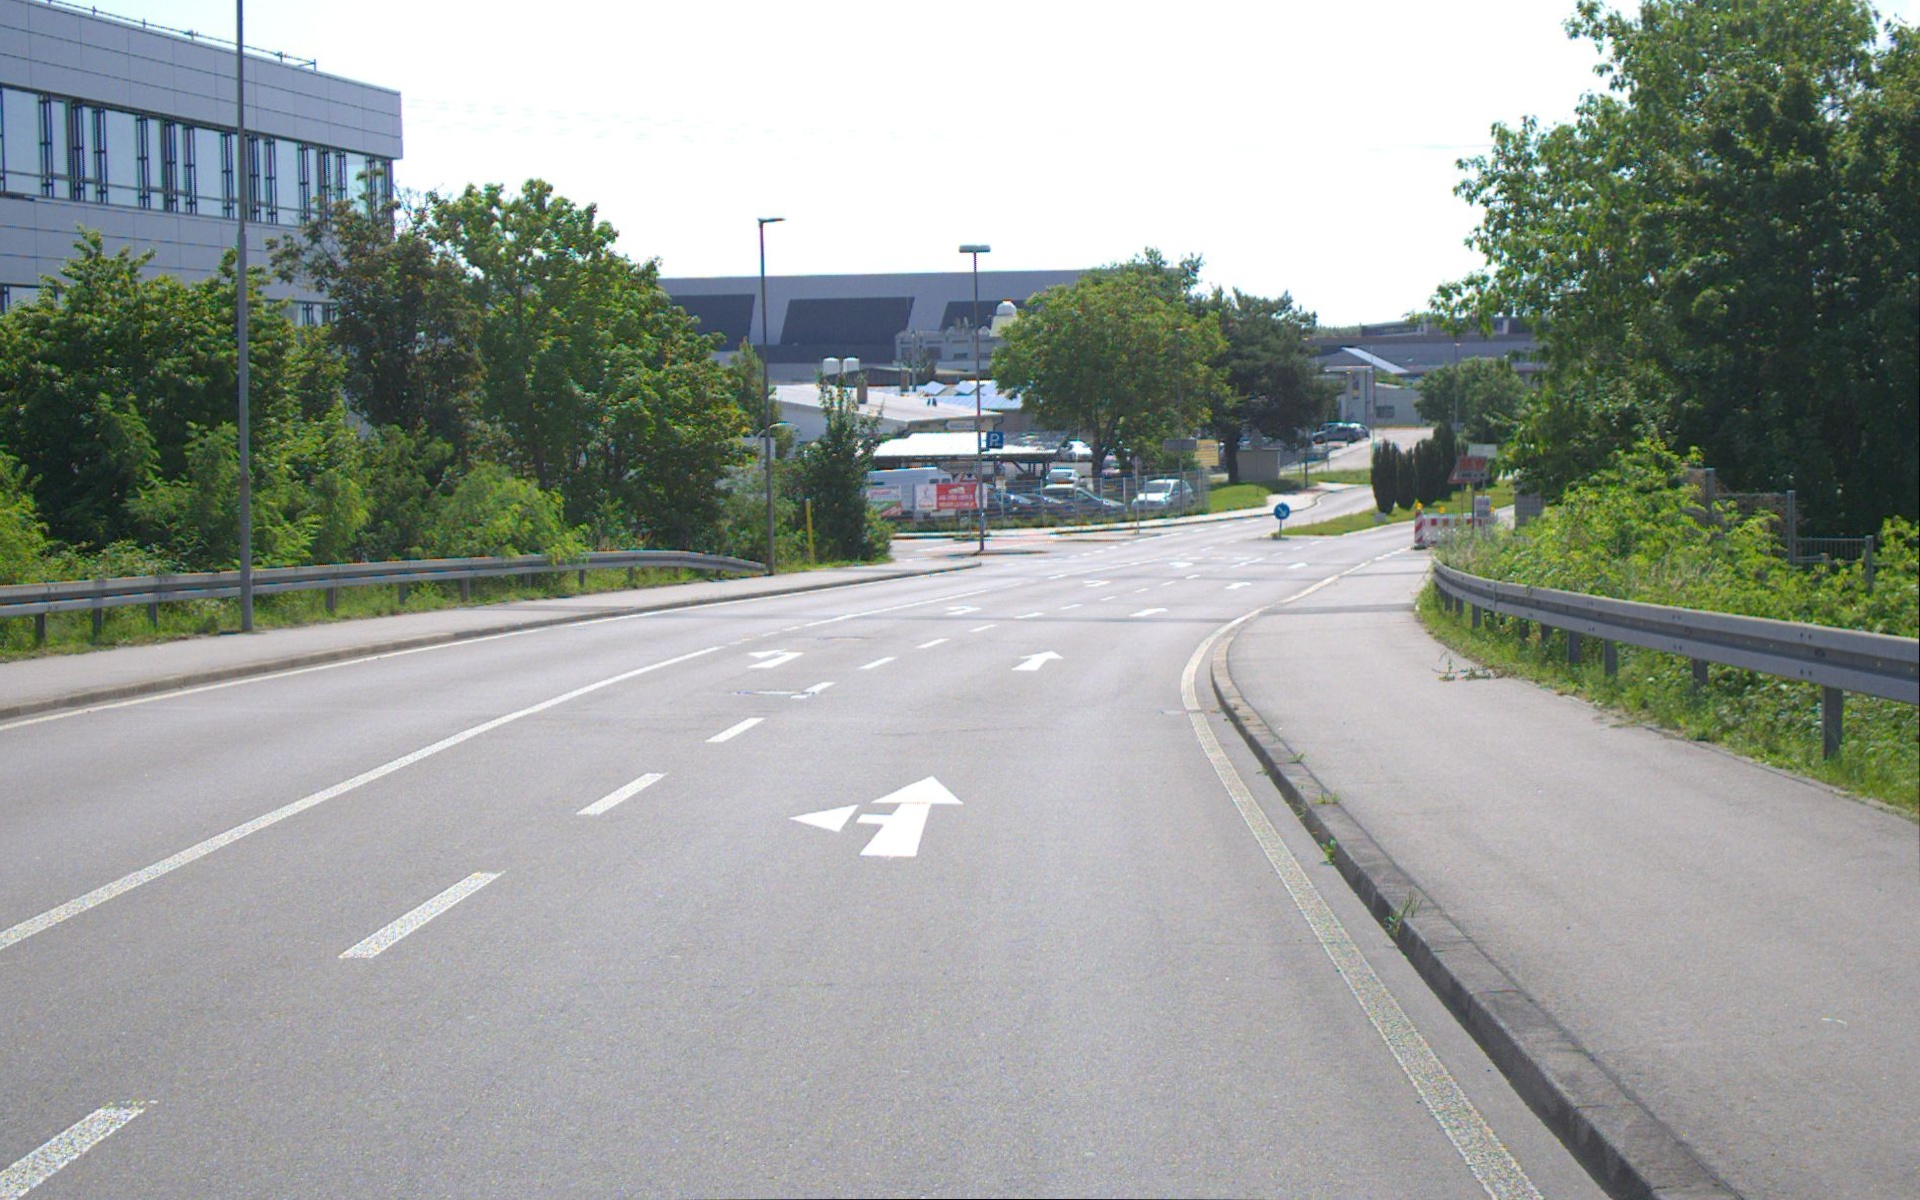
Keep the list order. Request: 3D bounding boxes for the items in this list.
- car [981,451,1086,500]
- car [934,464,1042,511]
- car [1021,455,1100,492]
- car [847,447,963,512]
[{"bbox_3d":[3.061,-5.239,144.069,3.996,1.897,1.996,3,5,37],"label":"car"},{"bbox_3d":[1.139,-4.628,140.792,3.995,1.774,1.996,3,5,36],"label":"car"},{"bbox_3d":[5.132,-6.462,175.807,3.987,1.843,1.835,-1,3,-1],"label":"car"},{"bbox_3d":[-2.220,-4.847,138.143,4.361,2.599,1.996,2,3,38],"label":"car"}]
